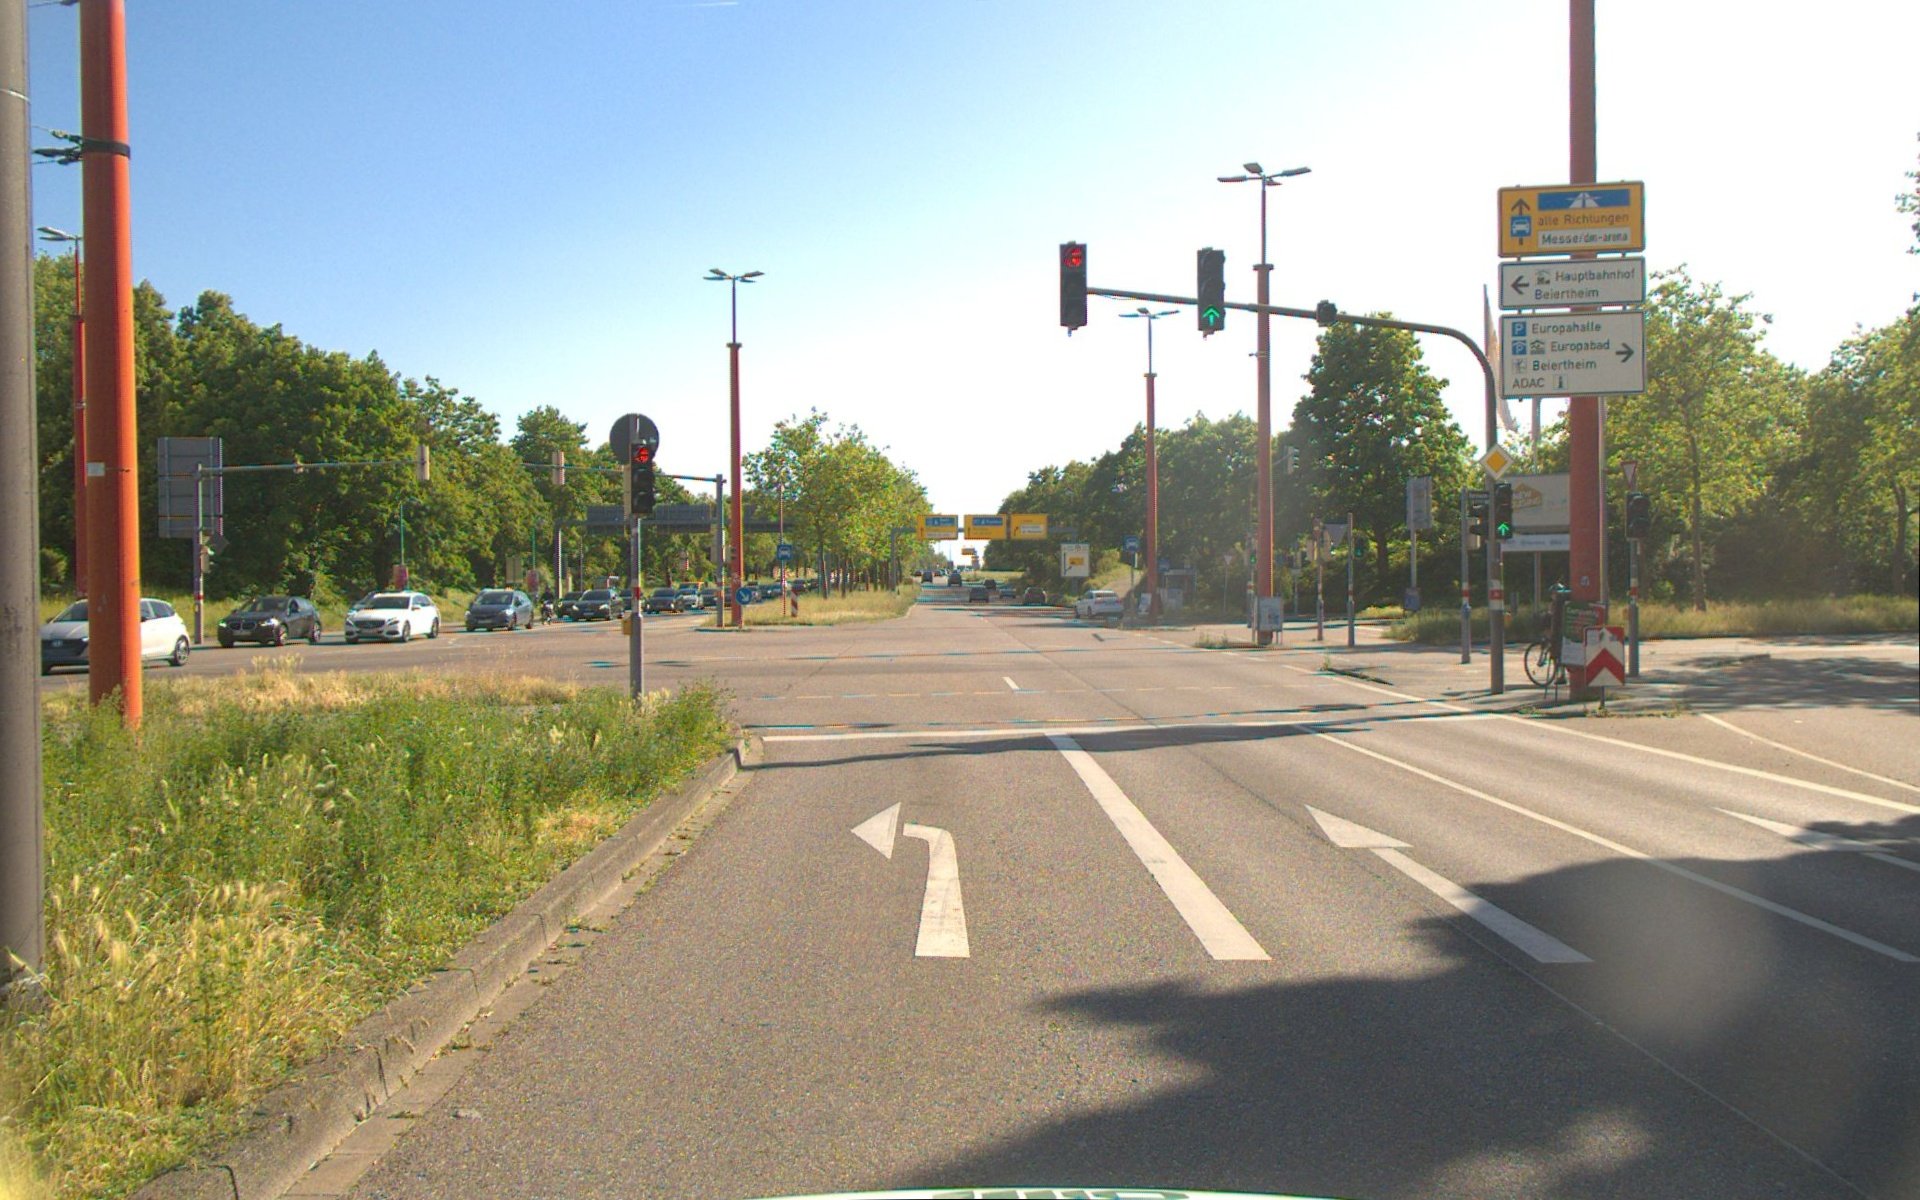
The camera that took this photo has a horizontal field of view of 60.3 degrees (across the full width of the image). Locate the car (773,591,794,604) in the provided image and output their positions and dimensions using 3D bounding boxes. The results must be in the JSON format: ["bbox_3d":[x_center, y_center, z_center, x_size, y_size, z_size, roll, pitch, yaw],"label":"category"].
[{"bbox_3d":[-18.421,-0.253,172.785,1.964,1.330,3.997,-1,0,-4],"label":"car"}]

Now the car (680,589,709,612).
[{"bbox_3d":[-17.884,0.002,111.535,1.573,1.485,3.947,0,0,-4],"label":"car"}]

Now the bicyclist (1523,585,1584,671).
[{"bbox_3d":[9.621,0.437,26.818,0.695,1.365,0.737,0,0,43],"label":"bicyclist"}]

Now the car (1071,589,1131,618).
[{"bbox_3d":[7.130,0.153,84.001,2.017,1.395,4.382,-1,0,-10],"label":"car"}]

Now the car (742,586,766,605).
[{"bbox_3d":[-18.466,-0.412,148.406,1.669,1.624,4.000,1,0,0],"label":"car"}]

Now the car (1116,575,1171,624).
[{"bbox_3d":[7.489,-0.046,67.255,1.951,1.920,4.004,0,0,10],"label":"car"}]

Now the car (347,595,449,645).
[{"bbox_3d":[-17.443,0.587,51.544,1.669,1.448,4.642,-1,0,-1],"label":"car"}]

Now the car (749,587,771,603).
[{"bbox_3d":[-19.404,-0.496,160.878,1.669,1.586,3.803,1,0,0],"label":"car"}]

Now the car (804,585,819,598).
[{"bbox_3d":[-19.805,-1.148,221.324,1.623,1.778,4.000,1,0,0],"label":"car"}]

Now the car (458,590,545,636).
[{"bbox_3d":[-17.282,0.460,62.569,1.952,1.622,4.464,-1,0,1],"label":"car"}]

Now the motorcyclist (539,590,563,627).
[{"bbox_3d":[-17.958,0.365,72.603,0.817,1.627,0.641,0,0,6],"label":"motorcyclist"}]

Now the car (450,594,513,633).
[{"bbox_3d":[-22.241,0.591,77.014,1.764,1.737,4.059,-1,0,-1],"label":"car"}]

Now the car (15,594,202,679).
[{"bbox_3d":[-17.107,0.685,33.473,1.556,1.498,4.183,-2,1,0],"label":"car"}]

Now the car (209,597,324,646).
[{"bbox_3d":[-20.651,0.627,49.446,1.824,1.365,4.029,-1,0,-2],"label":"car"}]

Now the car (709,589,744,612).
[{"bbox_3d":[-15.332,0.037,108.704,1.666,1.446,3.999,3,0,-1],"label":"car"}]

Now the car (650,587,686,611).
[{"bbox_3d":[-17.799,-0.089,100.916,1.517,1.401,4.261,0,0,-2],"label":"car"}]

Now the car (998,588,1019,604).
[{"bbox_3d":[4.983,-0.389,170.134,1.953,1.567,3.999,1,0,-1],"label":"car"}]

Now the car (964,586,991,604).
[{"bbox_3d":[1.519,-0.418,145.051,1.955,1.523,3.995,-1,0,-6],"label":"car"}]

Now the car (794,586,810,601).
[{"bbox_3d":[-19.192,-0.796,201.120,1.592,1.769,4.000,0,0,0],"label":"car"}]

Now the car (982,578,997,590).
[{"bbox_3d":[3.997,-2.084,221.974,1.952,1.567,4.000,0,0,1],"label":"car"}]

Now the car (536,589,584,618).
[{"bbox_3d":[-22.409,0.192,92.841,1.838,1.603,3.998,1,0,-2],"label":"car"}]

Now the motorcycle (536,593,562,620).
[{"bbox_3d":[-17.985,0.284,72.377,0.412,1.151,2.096,0,0,6],"label":"motorcycle"}]

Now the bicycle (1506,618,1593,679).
[{"bbox_3d":[9.528,0.768,26.692,0.550,0.894,2.156,-1,1,42],"label":"bicycle"}]

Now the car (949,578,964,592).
[{"bbox_3d":[-0.511,-2.269,246.605,2.111,2.049,3.999,-1,1,-1],"label":"car"}]

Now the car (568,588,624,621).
[{"bbox_3d":[-17.567,0.210,80.065,1.838,1.511,4.603,1,0,-2],"label":"car"}]

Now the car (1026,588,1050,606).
[{"bbox_3d":[6.085,-0.232,129.942,1.702,1.365,3.081,0,0,-1],"label":"car"}]

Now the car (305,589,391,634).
[{"bbox_3d":[-22.725,0.401,61.555,1.838,1.603,3.998,1,0,-2],"label":"car"}]
